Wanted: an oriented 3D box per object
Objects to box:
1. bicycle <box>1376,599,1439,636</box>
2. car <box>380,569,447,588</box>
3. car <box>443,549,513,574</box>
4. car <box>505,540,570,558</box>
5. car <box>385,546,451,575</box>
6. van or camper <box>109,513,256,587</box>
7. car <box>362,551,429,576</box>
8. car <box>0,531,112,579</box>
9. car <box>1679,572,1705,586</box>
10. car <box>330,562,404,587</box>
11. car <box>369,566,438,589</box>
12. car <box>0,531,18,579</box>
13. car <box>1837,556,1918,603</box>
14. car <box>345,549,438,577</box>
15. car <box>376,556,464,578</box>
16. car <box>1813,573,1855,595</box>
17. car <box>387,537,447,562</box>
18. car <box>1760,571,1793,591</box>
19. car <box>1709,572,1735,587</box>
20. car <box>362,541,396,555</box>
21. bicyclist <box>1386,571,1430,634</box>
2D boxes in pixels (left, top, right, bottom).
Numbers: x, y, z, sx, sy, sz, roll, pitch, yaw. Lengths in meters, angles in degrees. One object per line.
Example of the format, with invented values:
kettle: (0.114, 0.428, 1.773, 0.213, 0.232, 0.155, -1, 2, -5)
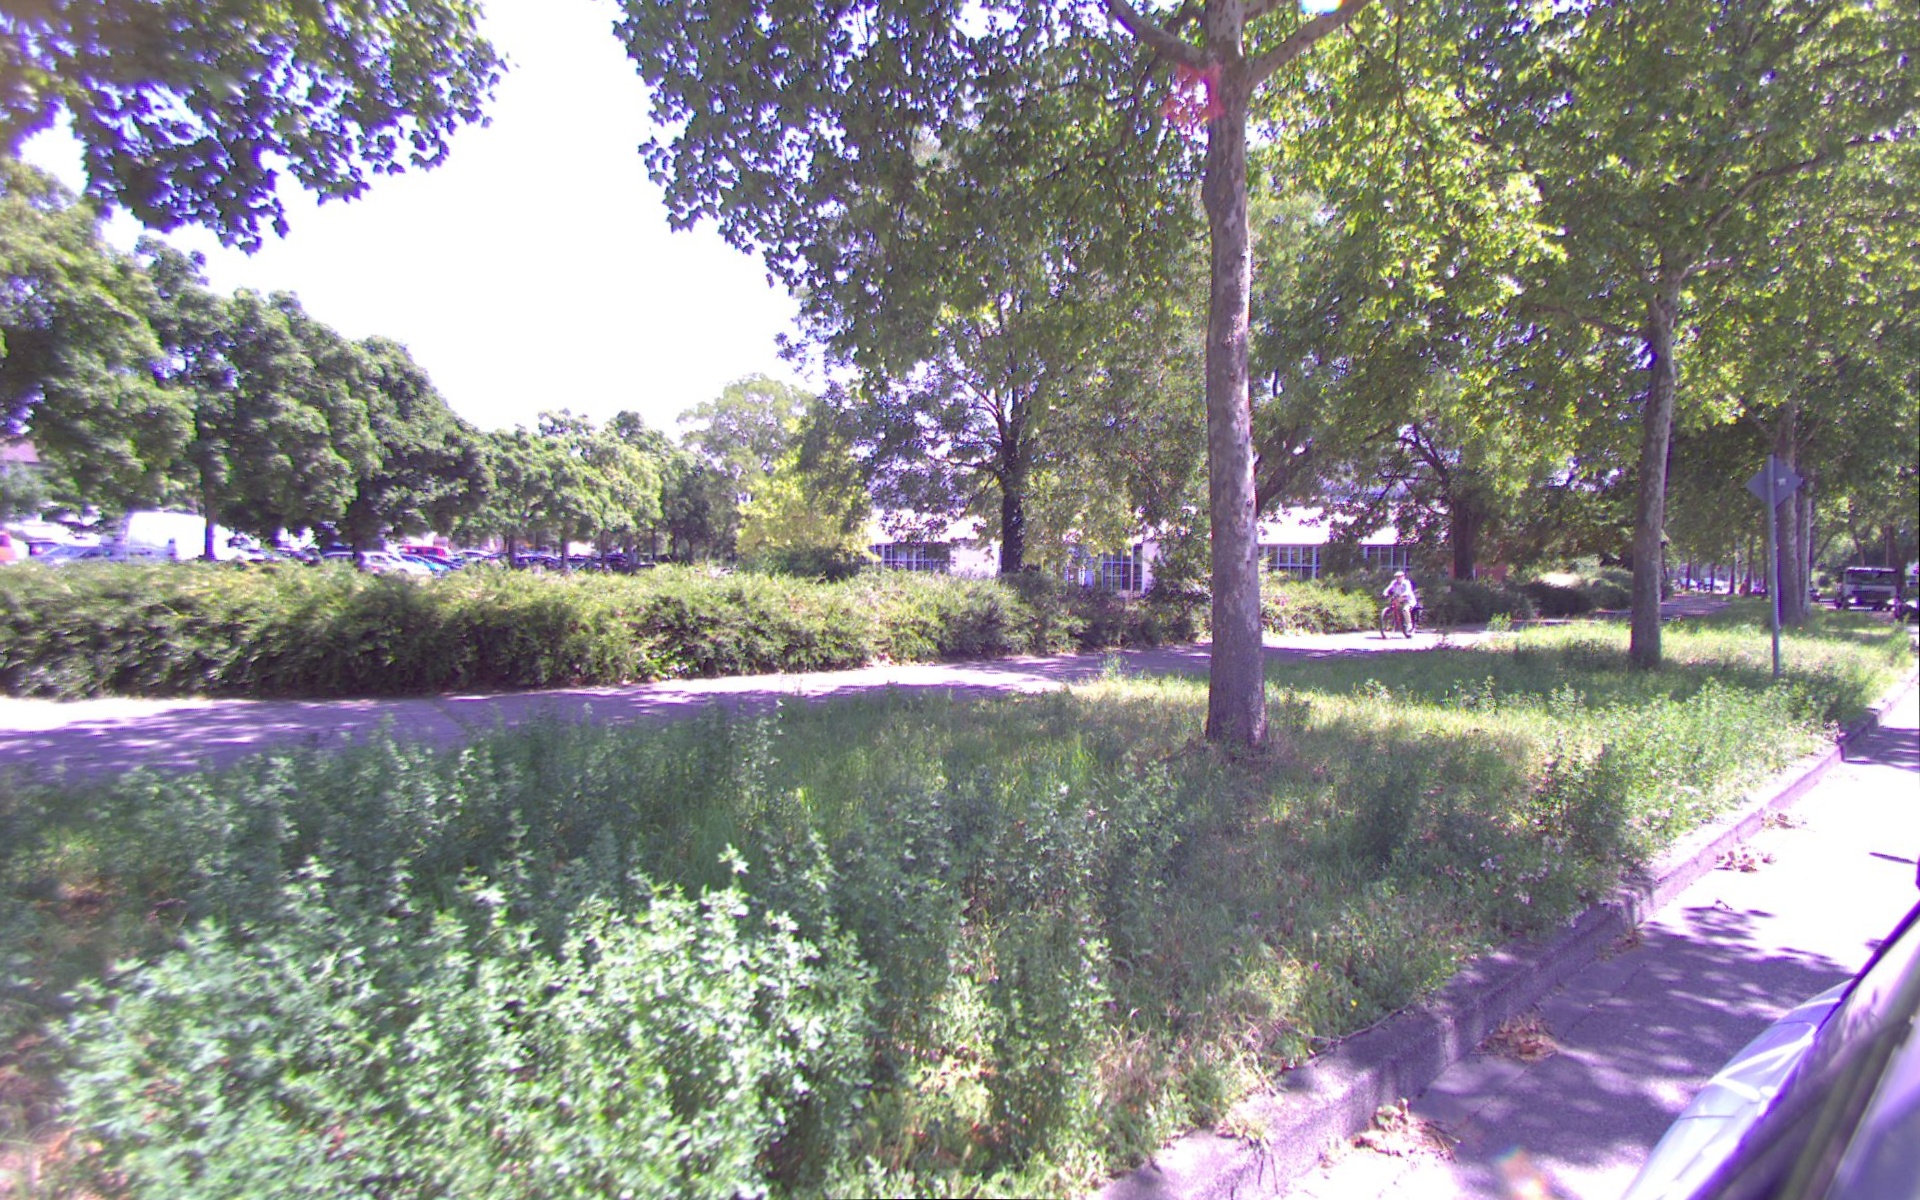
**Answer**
bicycle: (9.900, 0.376, 22.381, 1.636, 0.773, 0.465, 0, 2, -34)
car: (-24.951, -0.986, 46.233, 2.546, 0.852, 0.955, 1, 2, -9)
car: (-28.006, -2.248, 58.861, 3.357, 1.382, 1.720, 0, 2, -9)
car: (-64.644, -7.782, 155.030, 8.648, 2.620, 3.054, 0, 2, -9)
car: (-40.651, -2.964, 76.004, 3.919, 2.038, 1.970, 1, 2, -7)
van or camper: (-31.499, -2.008, 41.270, 2.160, 2.785, 5.133, 1, 2, -2)
car: (-26.578, -1.708, 47.685, 2.546, 1.141, 1.008, 1, 1, -9)
car: (-35.486, -1.721, 39.214, 1.918, 1.739, 4.074, 1, 2, -2)
car: (99.917, -2.902, 138.197, 1.978, 1.860, 3.969, 2, 2, 24)
car: (-25.338, -1.097, 43.300, 2.546, 1.049, 0.955, 1, 1, -9)
car: (-24.704, -0.993, 44.969, 2.546, 0.999, 0.955, 1, 1, -9)
car: (-41.087, -1.844, 40.819, 2.033, 2.027, 4.667, 1, 2, -3)
car: (55.761, -1.275, 61.644, 2.903, 2.687, 6.285, 2, 2, 36)
car: (-26.638, -1.725, 47.505, 3.500, 1.240, 1.623, 1, 2, -9)
car: (-26.688, -1.648, 50.112, 3.493, 1.047, 1.685, 0, 2, -9)
car: (69.491, -1.304, 80.529, 1.987, 1.638, 3.952, 2, 2, 34)
car: (-73.983, -6.871, 138.072, 7.057, 3.221, 3.196, 0, 2, -25)
car: (78.574, -1.848, 97.407, 1.985, 1.860, 3.954, 2, 2, 32)
car: (94.952, -2.567, 126.173, 1.982, 1.860, 3.960, 2, 2, 29)
car: (-70.224, -6.311, 122.398, 1.432, 1.638, 3.328, 2, 2, 34)
bicyclist: (9.950, 0.040, 22.482, 0.653, 1.355, 0.601, 0, 2, -35)
